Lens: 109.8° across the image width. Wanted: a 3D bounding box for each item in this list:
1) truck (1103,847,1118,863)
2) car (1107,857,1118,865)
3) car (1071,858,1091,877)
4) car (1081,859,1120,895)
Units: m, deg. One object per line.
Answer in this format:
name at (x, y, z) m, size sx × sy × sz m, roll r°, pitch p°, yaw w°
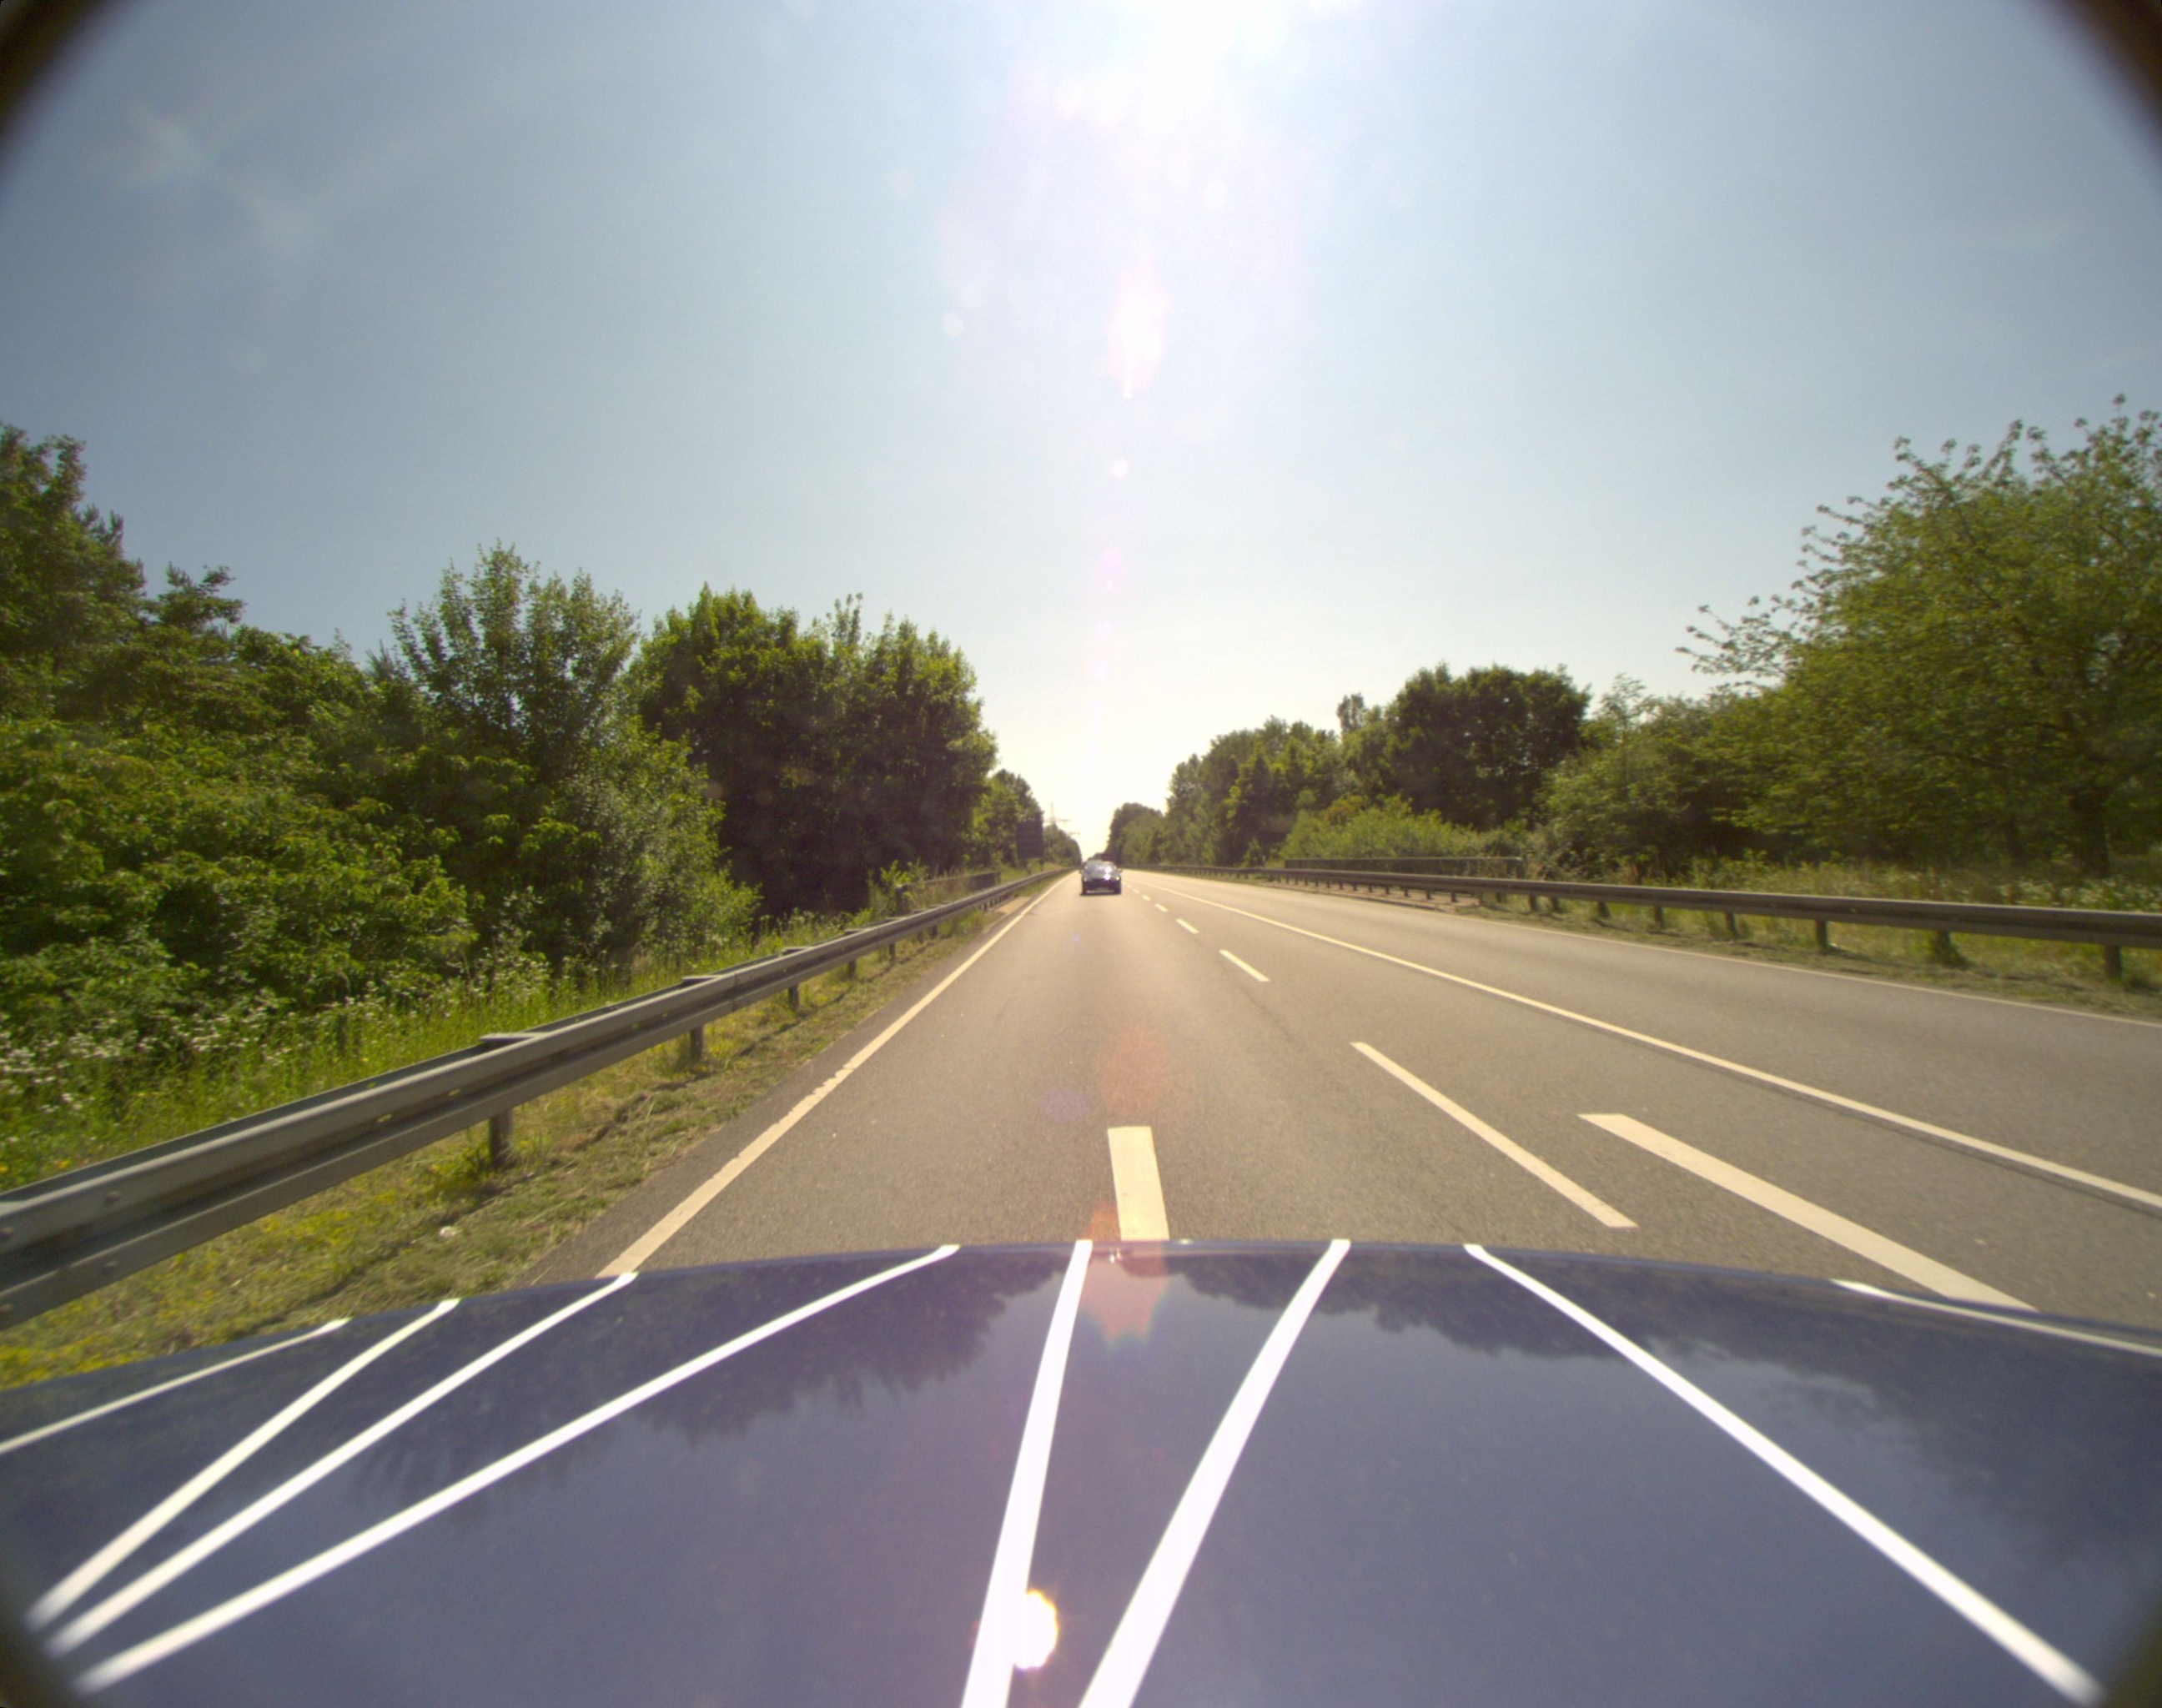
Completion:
truck at (6.989, 0.257, 180.783) m, size 3.200 × 3.678 × 9.006 m, roll -2°, pitch 0°, yaw 0°
car at (6.461, 1.380, 156.084) m, size 1.823 × 1.537 × 4.526 m, roll -2°, pitch 0°, yaw -1°
car at (-0.027, 1.033, 60.187) m, size 1.443 × 1.443 × 3.298 m, roll -2°, pitch 0°, yaw -1°
car at (0.813, 0.933, 32.676) m, size 1.529 × 1.387 × 3.443 m, roll -1°, pitch 0°, yaw 1°
